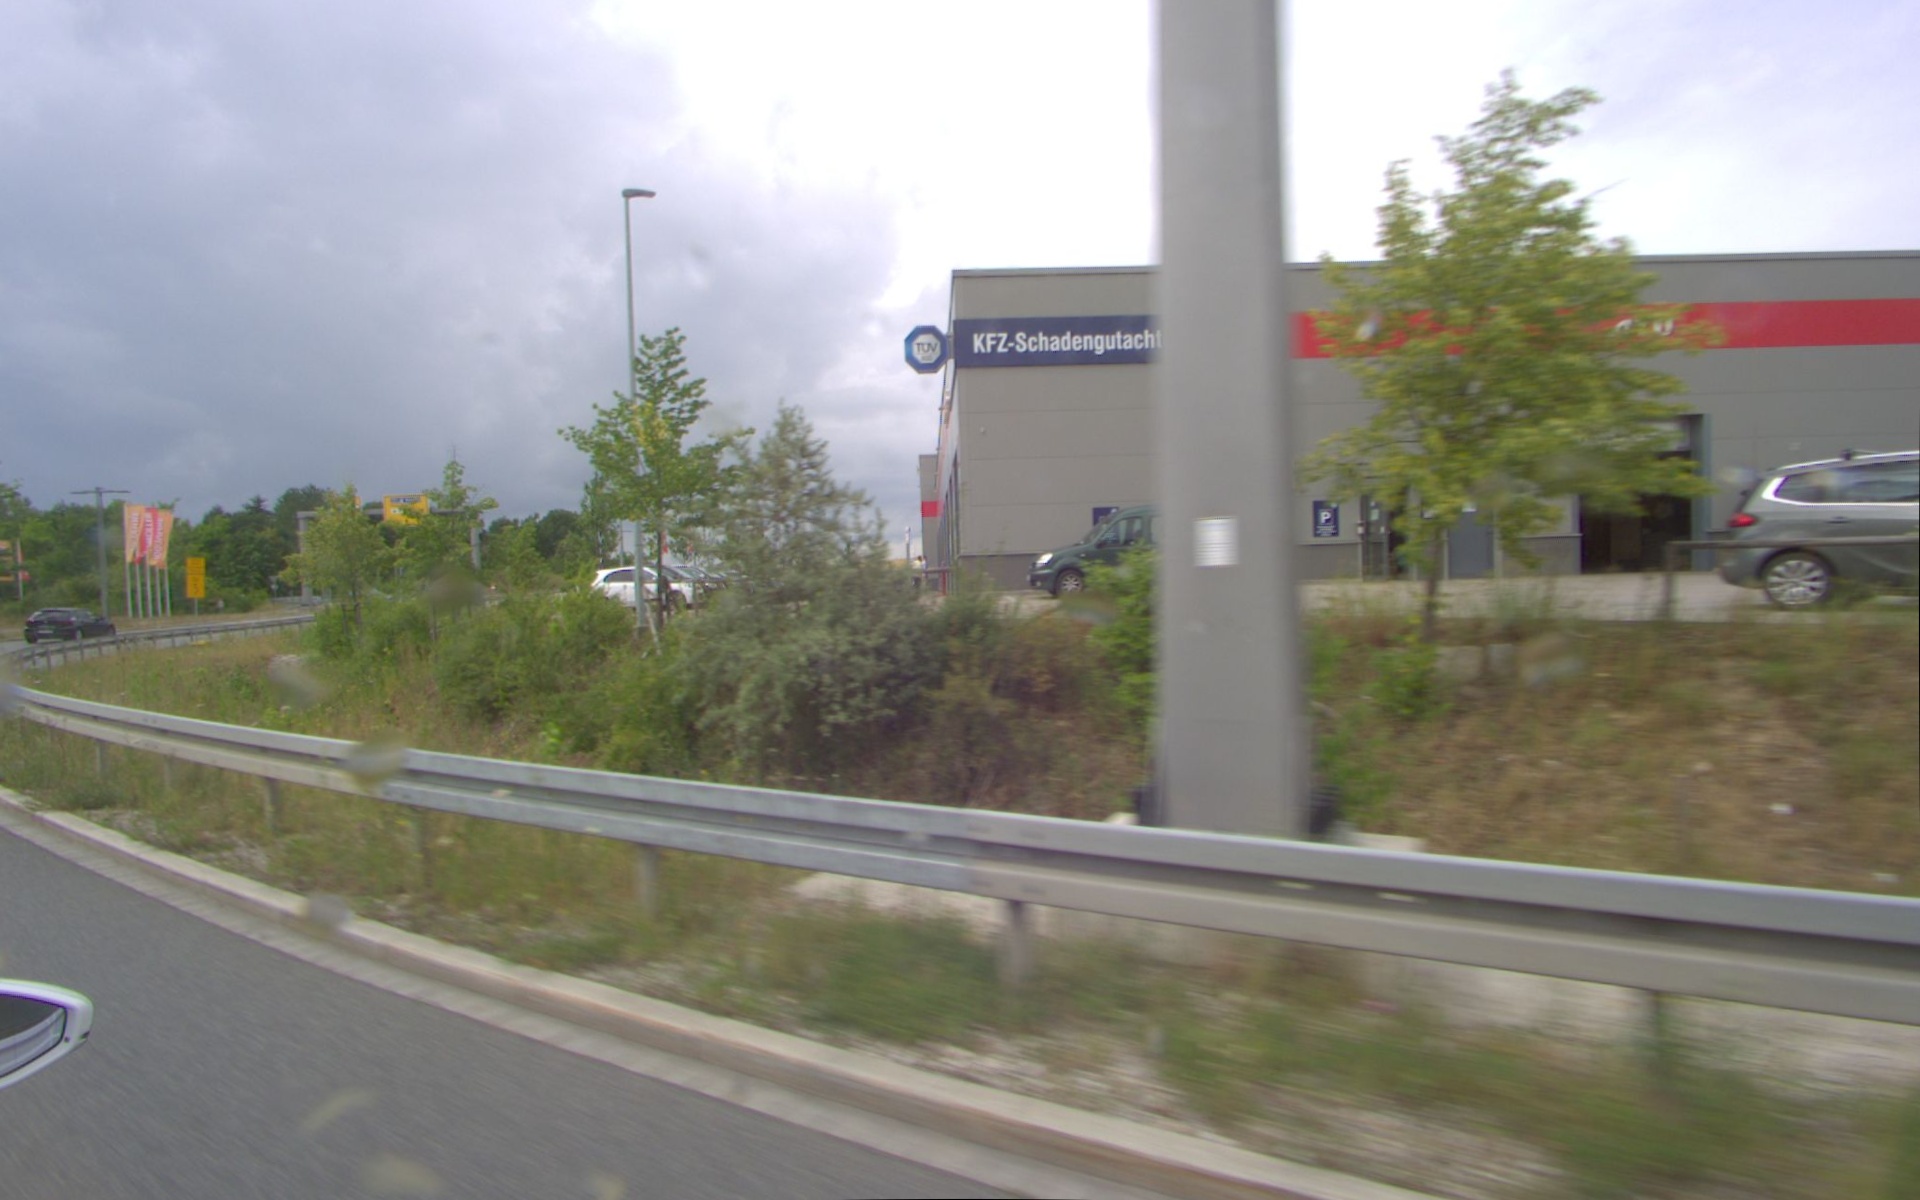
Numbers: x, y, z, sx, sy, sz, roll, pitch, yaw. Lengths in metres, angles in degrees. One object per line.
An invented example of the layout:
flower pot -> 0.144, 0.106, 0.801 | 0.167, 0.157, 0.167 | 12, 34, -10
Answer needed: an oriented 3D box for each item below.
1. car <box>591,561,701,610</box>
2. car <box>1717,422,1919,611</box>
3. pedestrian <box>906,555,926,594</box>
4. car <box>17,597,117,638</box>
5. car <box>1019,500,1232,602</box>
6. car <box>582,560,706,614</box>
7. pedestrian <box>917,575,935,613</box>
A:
car -> -11.223, -0.525, 36.002 | 3.379, 1.657, 1.731 | -1, 1, -1
car -> 10.489, -0.873, 10.133 | 1.780, 1.805, 4.148 | 1, -3, -31
pedestrian -> -1.993, -1.152, 45.525 | 0.664, 1.765, 0.628 | -1, 0, 24
car -> -37.446, 0.744, 42.121 | 1.843, 1.626, 3.725 | -1, 0, -20
car -> 3.219, -0.989, 19.937 | 3.893, 1.837, 1.703 | -2, 4, -3
car -> -10.538, -0.440, 33.550 | 3.557, 1.559, 1.643 | -3, 2, -2
pedestrian -> -1.576, -0.264, 46.385 | 0.626, 1.765, 0.591 | -1, 0, 20
